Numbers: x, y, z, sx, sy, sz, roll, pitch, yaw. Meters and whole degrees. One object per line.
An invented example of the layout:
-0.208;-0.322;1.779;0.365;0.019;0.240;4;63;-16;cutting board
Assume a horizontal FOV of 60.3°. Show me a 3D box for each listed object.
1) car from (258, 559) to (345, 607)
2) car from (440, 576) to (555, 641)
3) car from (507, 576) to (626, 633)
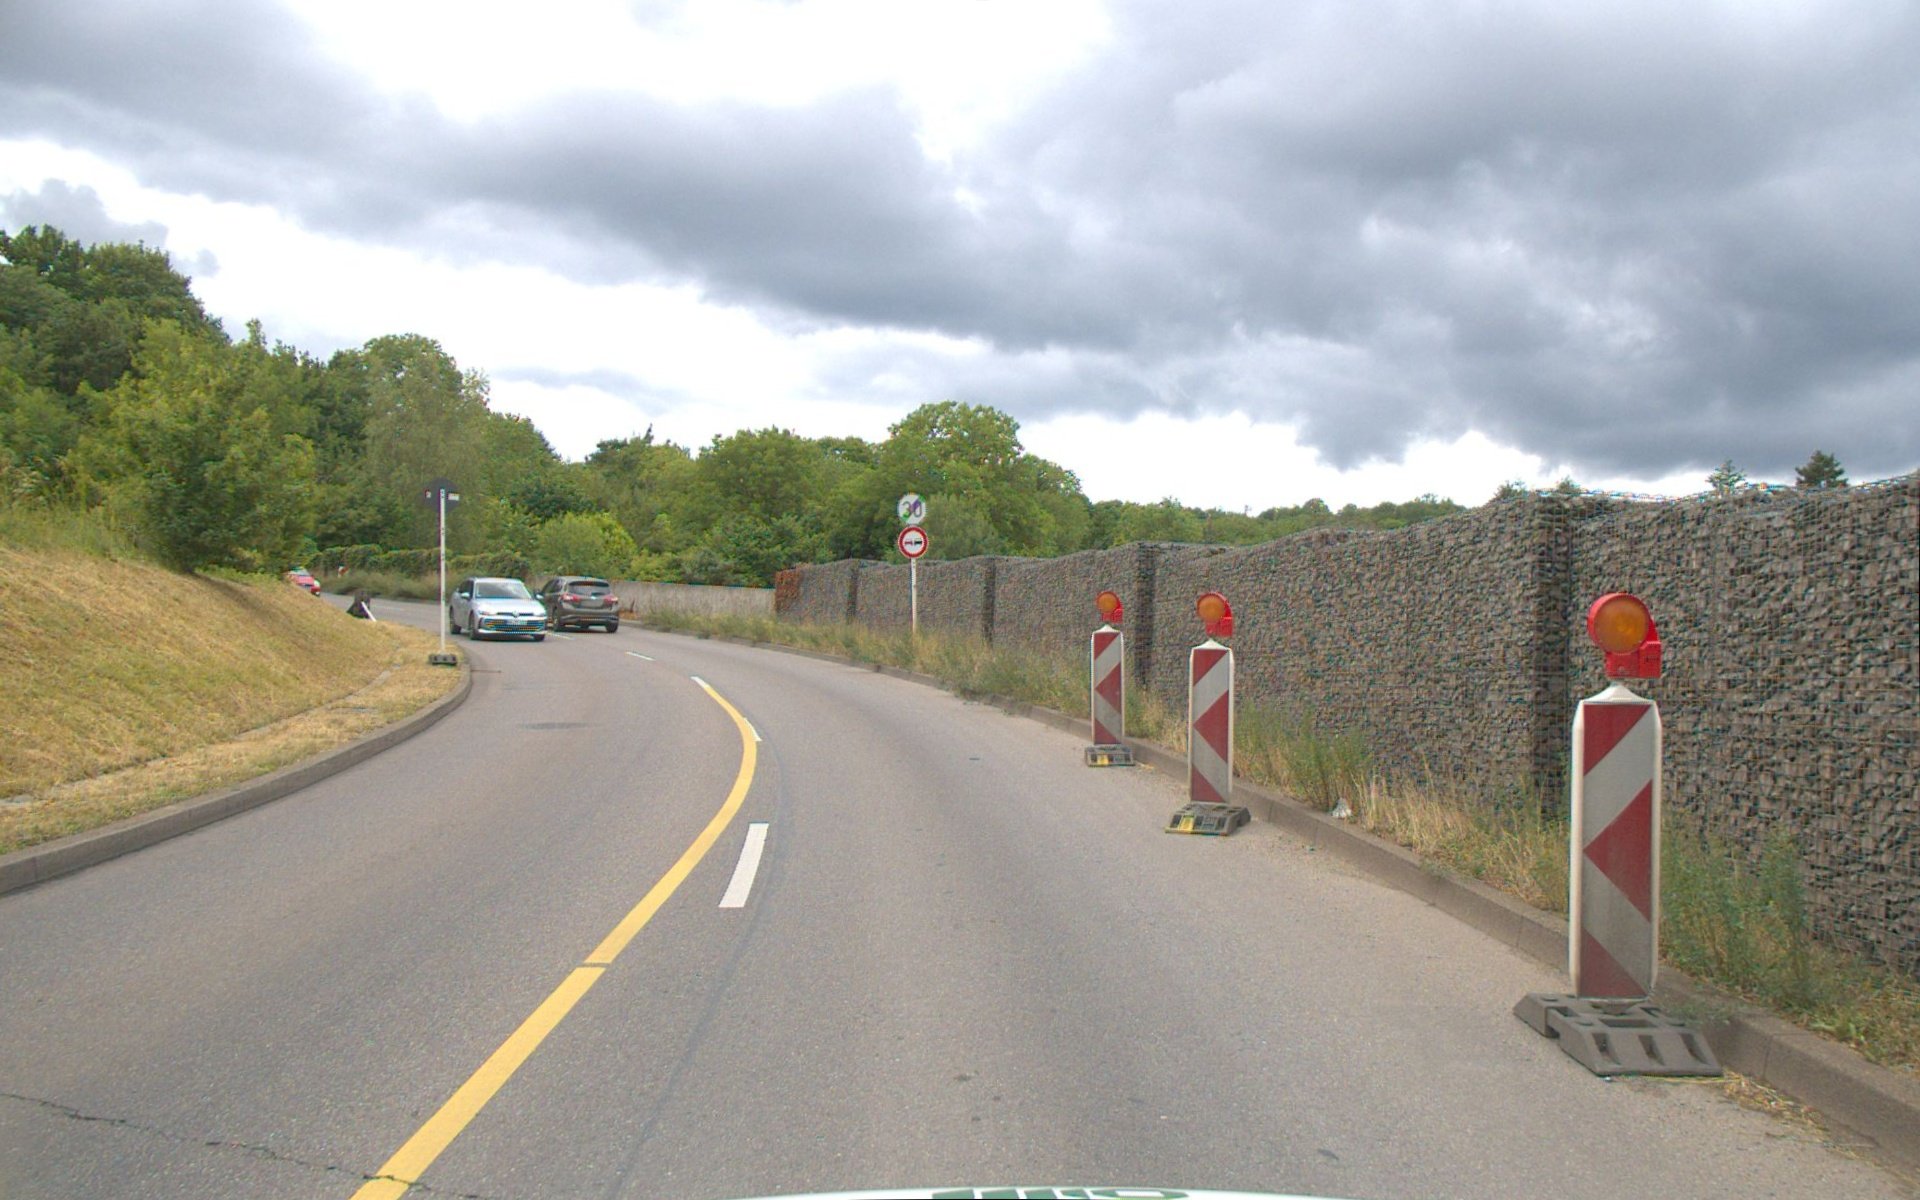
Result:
-24.045;-0.599;60.300;1.731;1.441;3.696;7;-7;-41;car
-11.854;0.167;42.215;1.861;1.503;4.558;-1;2;-29;car
-11.255;0.096;47.160;1.827;1.509;3.945;0;2;-38;car
